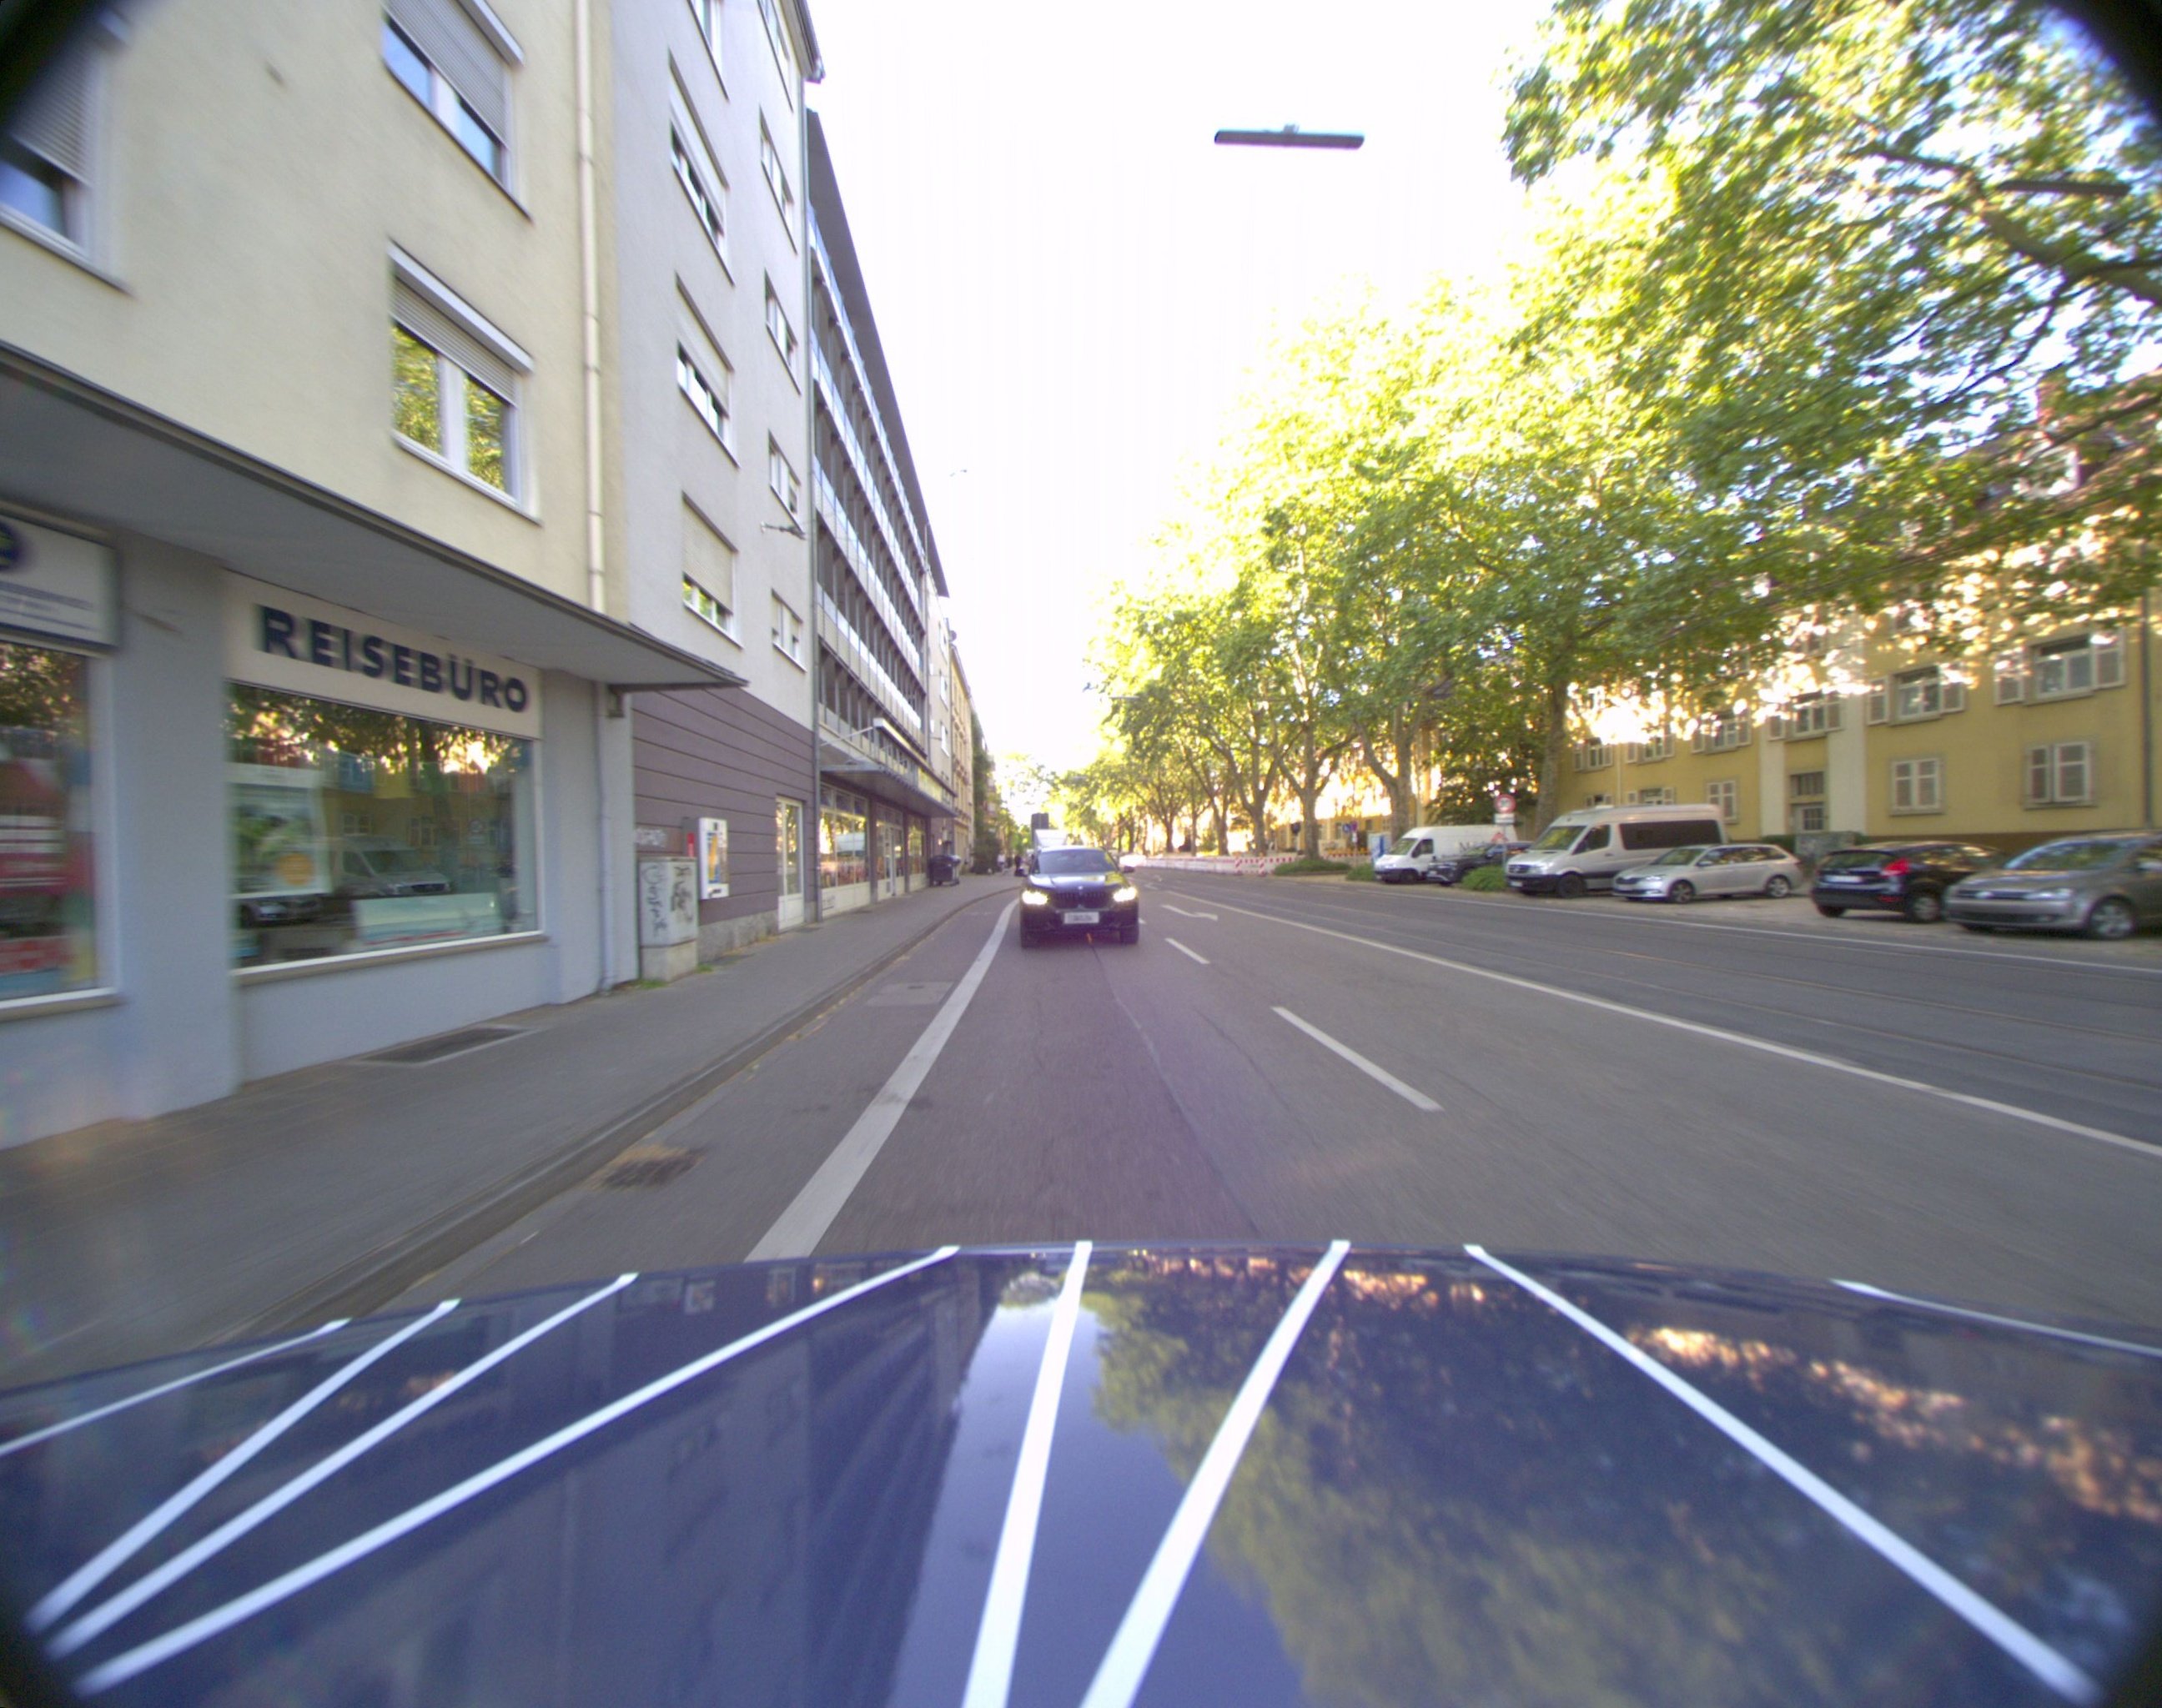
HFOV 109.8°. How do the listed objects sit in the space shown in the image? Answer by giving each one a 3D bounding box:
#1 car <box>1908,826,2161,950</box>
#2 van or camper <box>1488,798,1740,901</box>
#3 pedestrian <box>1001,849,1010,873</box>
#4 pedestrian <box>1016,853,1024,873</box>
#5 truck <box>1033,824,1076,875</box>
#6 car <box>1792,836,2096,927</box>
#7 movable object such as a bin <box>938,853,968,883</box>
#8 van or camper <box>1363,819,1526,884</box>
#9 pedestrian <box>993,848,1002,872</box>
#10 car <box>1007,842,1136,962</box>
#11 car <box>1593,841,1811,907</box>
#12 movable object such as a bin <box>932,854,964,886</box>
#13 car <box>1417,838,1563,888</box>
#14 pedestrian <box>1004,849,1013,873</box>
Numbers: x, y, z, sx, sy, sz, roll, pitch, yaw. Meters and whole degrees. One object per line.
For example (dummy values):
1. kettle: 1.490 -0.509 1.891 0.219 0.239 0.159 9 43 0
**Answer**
1. car: 15.741 0.451 11.694 4.081 1.610 1.844 -2 1 -1
2. van or camper: 15.518 -0.156 22.349 5.932 2.633 2.155 -3 2 -2
3. pedestrian: -5.235 0.501 52.584 0.541 1.662 0.630 -1 1 -1
4. pedestrian: -4.493 0.657 55.931 0.541 1.437 0.630 -1 1 -1
5. truck: -1.814 -0.330 50.123 2.344 3.096 5.209 -3 1 -6
6. car: 16.145 0.469 14.349 3.861 1.438 1.693 -2 1 -1
7. movable object such as a bin: -6.156 0.674 36.718 1.204 1.402 1.371 -1 1 -1
8. van or camper: 15.061 -0.118 31.716 5.764 2.371 2.155 -3 2 -2
9. pedestrian: -5.989 0.447 54.715 0.541 1.712 0.630 -1 1 -1
10. car: -0.183 0.705 14.064 1.931 1.742 4.682 -2 1 -1
11. car: 15.934 0.482 19.646 4.276 1.438 1.693 -2 1 -1
12. movable object such as a bin: -6.062 0.712 34.722 1.204 1.402 1.371 -1 1 -1
13. car: 15.296 0.311 28.543 4.540 1.624 1.693 -2 2 -1
14. pedestrian: -5.216 0.492 54.808 0.541 1.662 0.513 -1 1 -1
